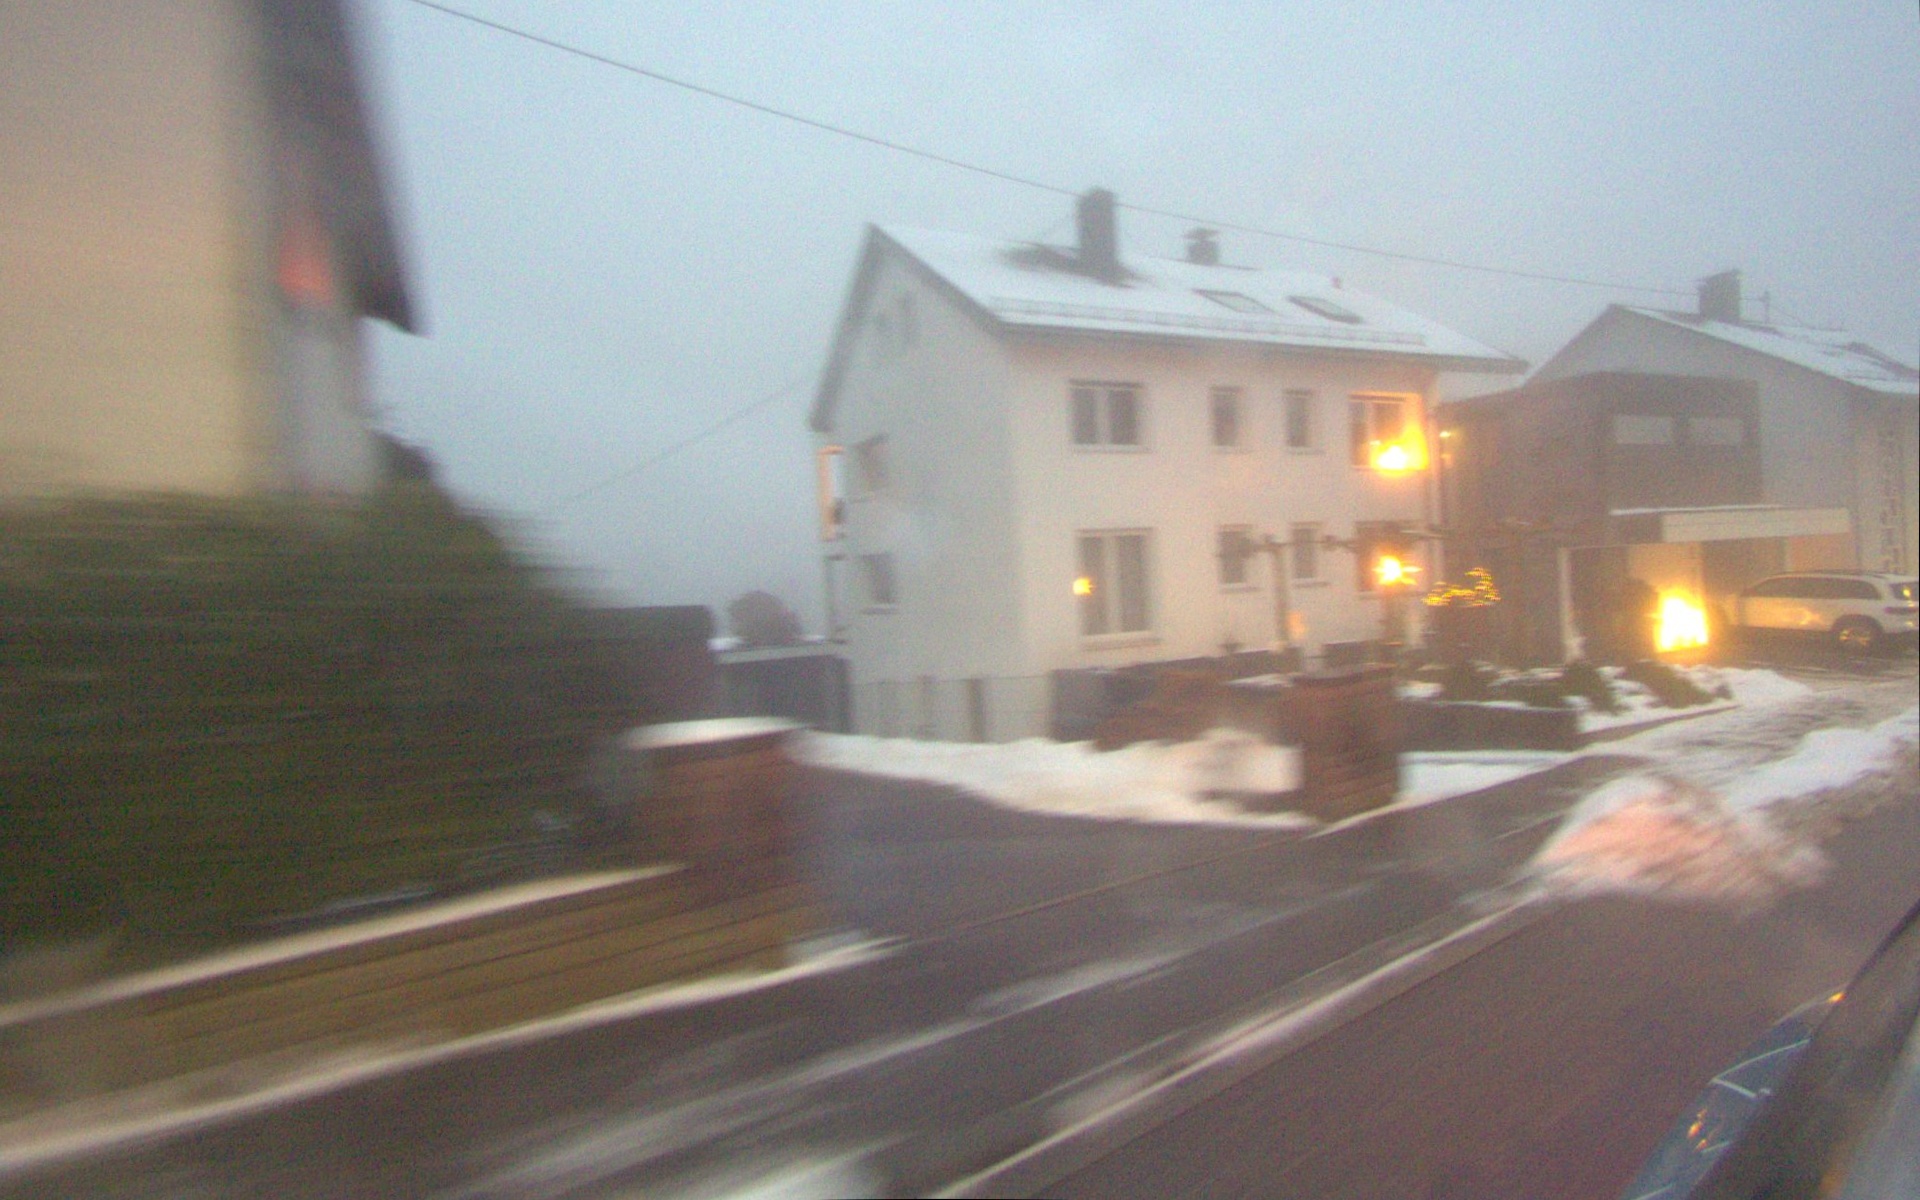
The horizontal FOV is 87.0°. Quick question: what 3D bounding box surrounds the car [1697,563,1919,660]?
[{"bbox_3d":[18.900,0.178,22.033,1.872,1.881,4.227,-1,1,-25],"label":"car"}]
